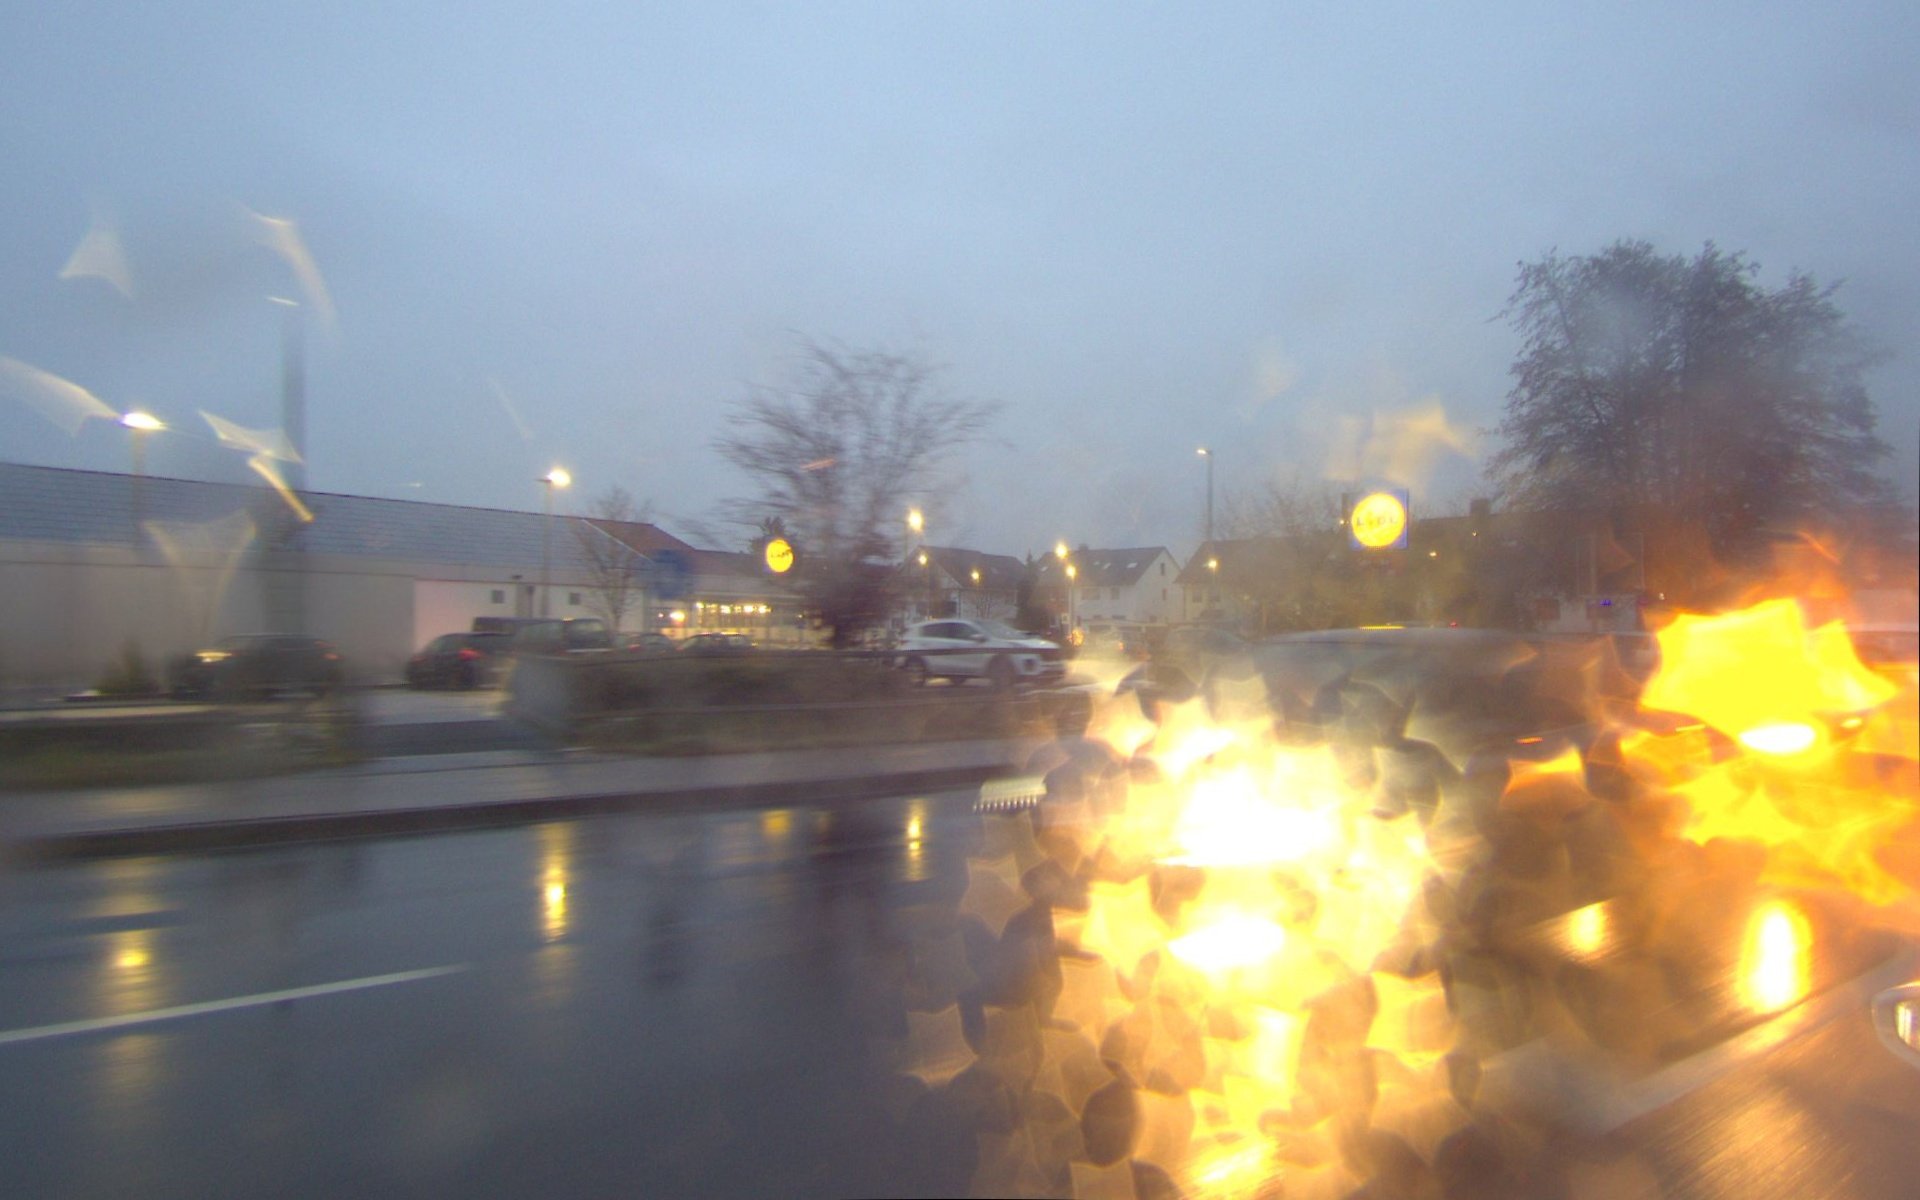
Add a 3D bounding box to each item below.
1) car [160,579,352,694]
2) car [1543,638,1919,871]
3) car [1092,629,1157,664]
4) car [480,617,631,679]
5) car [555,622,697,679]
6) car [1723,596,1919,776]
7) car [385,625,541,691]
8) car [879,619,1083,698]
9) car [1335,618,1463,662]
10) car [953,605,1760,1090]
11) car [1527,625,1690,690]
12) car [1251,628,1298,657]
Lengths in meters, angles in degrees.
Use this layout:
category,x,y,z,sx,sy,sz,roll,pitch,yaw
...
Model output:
category,x,y,z,sx,sy,sz,roll,pitch,yaw
car,-15.914,0.845,22.589,5.123,2.312,2.209,-3,-2,39
car,6.860,1.108,8.638,4.003,1.515,1.759,1,-2,-36
car,8.759,2.416,53.304,1.887,1.639,3.986,1,1,35
car,-11.361,1.345,28.094,4.377,1.584,2.046,-3,-2,39
car,-10.183,1.521,30.475,4.377,1.584,2.046,-3,-2,39
car,10.635,0.884,11.645,4.381,1.746,1.758,1,-2,-38
car,-13.158,1.515,26.507,4.377,1.584,2.046,-3,-2,39
car,0.432,1.338,24.363,4.711,1.734,2.025,-1,-2,38
car,17.601,1.570,40.394,4.357,1.694,1.958,-1,-1,42
car,2.074,0.833,4.893,3.956,1.505,1.654,2,-2,-32
car,20.421,1.761,31.730,4.170,1.722,1.894,3,0,35
car,20.802,2.786,66.329,1.674,1.662,3.692,3,2,40
